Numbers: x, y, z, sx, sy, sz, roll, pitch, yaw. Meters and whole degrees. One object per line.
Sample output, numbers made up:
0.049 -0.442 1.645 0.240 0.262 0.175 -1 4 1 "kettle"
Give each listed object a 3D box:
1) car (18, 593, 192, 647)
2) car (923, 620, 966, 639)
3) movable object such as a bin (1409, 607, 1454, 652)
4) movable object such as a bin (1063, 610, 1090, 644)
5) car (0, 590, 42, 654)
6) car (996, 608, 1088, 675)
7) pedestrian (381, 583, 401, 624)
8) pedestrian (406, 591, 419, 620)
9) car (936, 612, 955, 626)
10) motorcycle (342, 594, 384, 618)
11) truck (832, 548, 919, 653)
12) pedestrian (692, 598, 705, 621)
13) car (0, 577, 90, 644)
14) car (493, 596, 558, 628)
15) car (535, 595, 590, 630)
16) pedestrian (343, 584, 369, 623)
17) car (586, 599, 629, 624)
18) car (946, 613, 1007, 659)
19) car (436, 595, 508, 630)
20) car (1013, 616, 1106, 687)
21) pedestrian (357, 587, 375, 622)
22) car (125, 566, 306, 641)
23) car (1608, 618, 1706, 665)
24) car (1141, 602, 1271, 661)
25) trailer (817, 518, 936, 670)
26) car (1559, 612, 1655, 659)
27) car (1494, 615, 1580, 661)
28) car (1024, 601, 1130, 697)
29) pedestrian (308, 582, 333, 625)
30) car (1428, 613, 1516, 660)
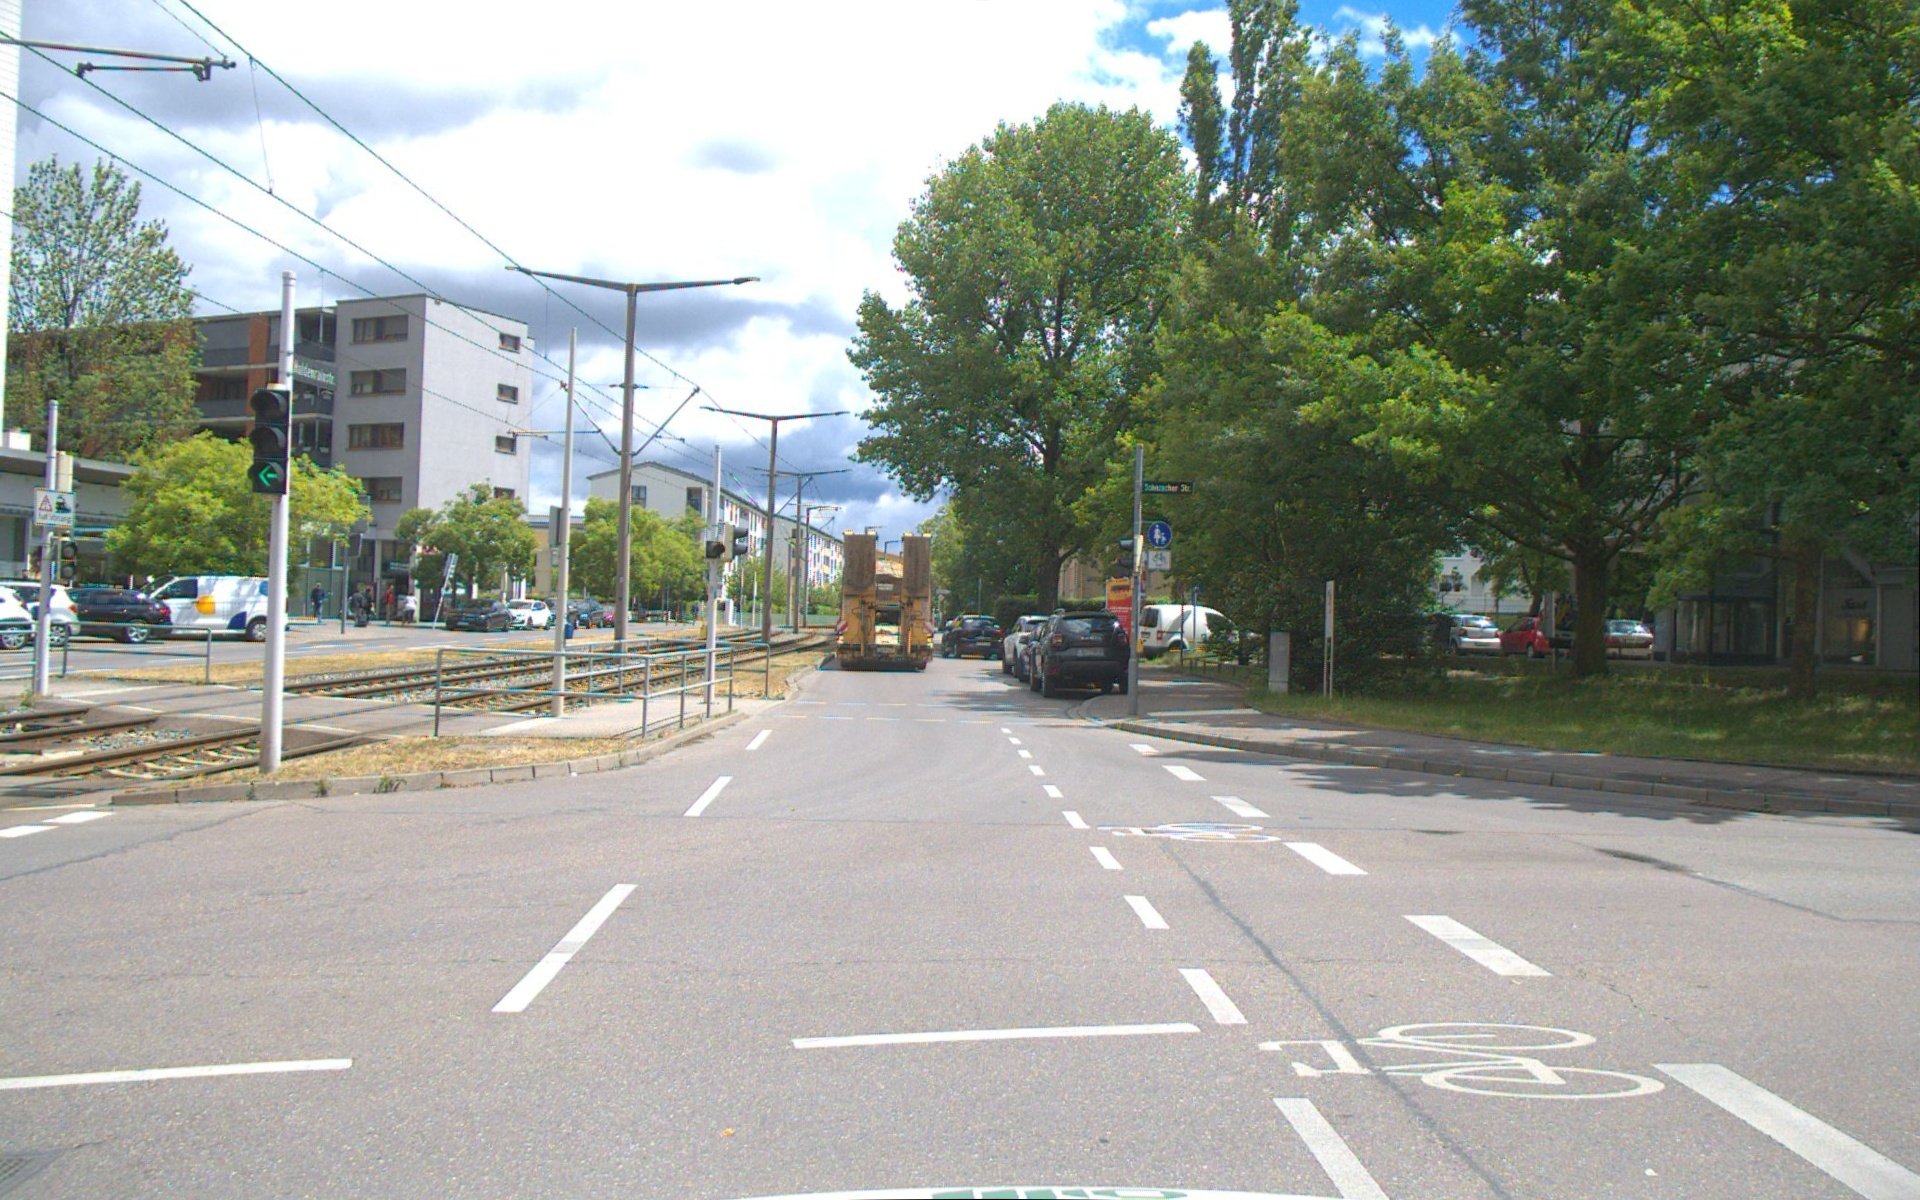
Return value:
-23.797 0.537 46.100 3.966 1.407 1.877 0 0 -42 "car"
-1.421 2.710 151.472 3.521 1.612 2.001 1 -1 12 "car"
15.739 0.971 55.256 1.093 1.455 1.285 0 0 -3 "movable object such as a bin"
5.111 1.196 72.592 1.076 1.464 0.761 0 0 -3 "movable object such as a bin"
-24.045 0.512 39.227 3.732 1.522 1.722 0 0 -41 "car"
2.089 1.041 43.232 1.749 1.592 4.564 0 0 -6 "car"
-25.760 0.143 74.901 0.599 1.824 0.843 0 0 -1 "pedestrian"
-27.482 0.273 83.025 0.492 1.485 0.555 0 0 -28 "pedestrian"
-1.491 1.965 170.122 1.953 1.411 3.999 1 0 -1 "car"
-30.396 0.312 84.216 1.854 1.199 0.741 1 0 -3 "motorcycle"
-2.901 -0.011 57.455 2.777 3.388 7.980 0 0 -3 "truck"
-19.459 0.723 123.133 0.734 1.691 0.869 0 0 3 "pedestrian"
-24.528 0.255 41.978 1.874 1.660 3.973 1 0 43 "car"
-21.301 0.556 81.259 1.717 1.501 4.402 1 0 5 "car"
-20.600 0.615 85.844 1.954 1.691 4.098 2 0 -3 "car"
-26.022 0.147 71.279 0.823 1.678 0.613 2 0 16 "pedestrian"
-21.201 0.672 99.606 1.579 1.451 3.425 1 0 6 "car"
0.523 1.197 56.262 1.779 1.474 3.823 0 0 -4 "car"
-21.661 0.559 73.536 1.698 1.453 4.381 2 0 2 "car"
2.257 1.156 38.487 1.611 1.483 4.072 0 0 -4 "car"
-26.978 0.203 75.117 0.656 1.601 0.682 0 0 -28 "pedestrian"
-22.667 0.092 50.470 4.722 2.194 1.877 0 0 -42 "car"
24.777 1.453 58.916 1.708 1.555 3.999 1 0 -1 "car"
8.086 1.007 54.379 3.935 1.855 1.797 0 0 -24 "car"
-2.390 -0.184 47.986 2.989 3.838 11.606 0 0 -3 "trailer"
22.494 1.220 57.662 1.708 1.496 3.999 1 0 -1 "car"
20.161 1.291 57.941 1.707 1.468 4.001 1 0 1 "car"
2.335 0.950 33.990 1.611 1.793 4.567 0 0 -3 "car"
-27.628 0.140 71.414 0.833 1.824 0.864 0 0 -34 "pedestrian"
17.828 1.247 57.810 1.900 1.516 4.001 1 0 1 "car"
